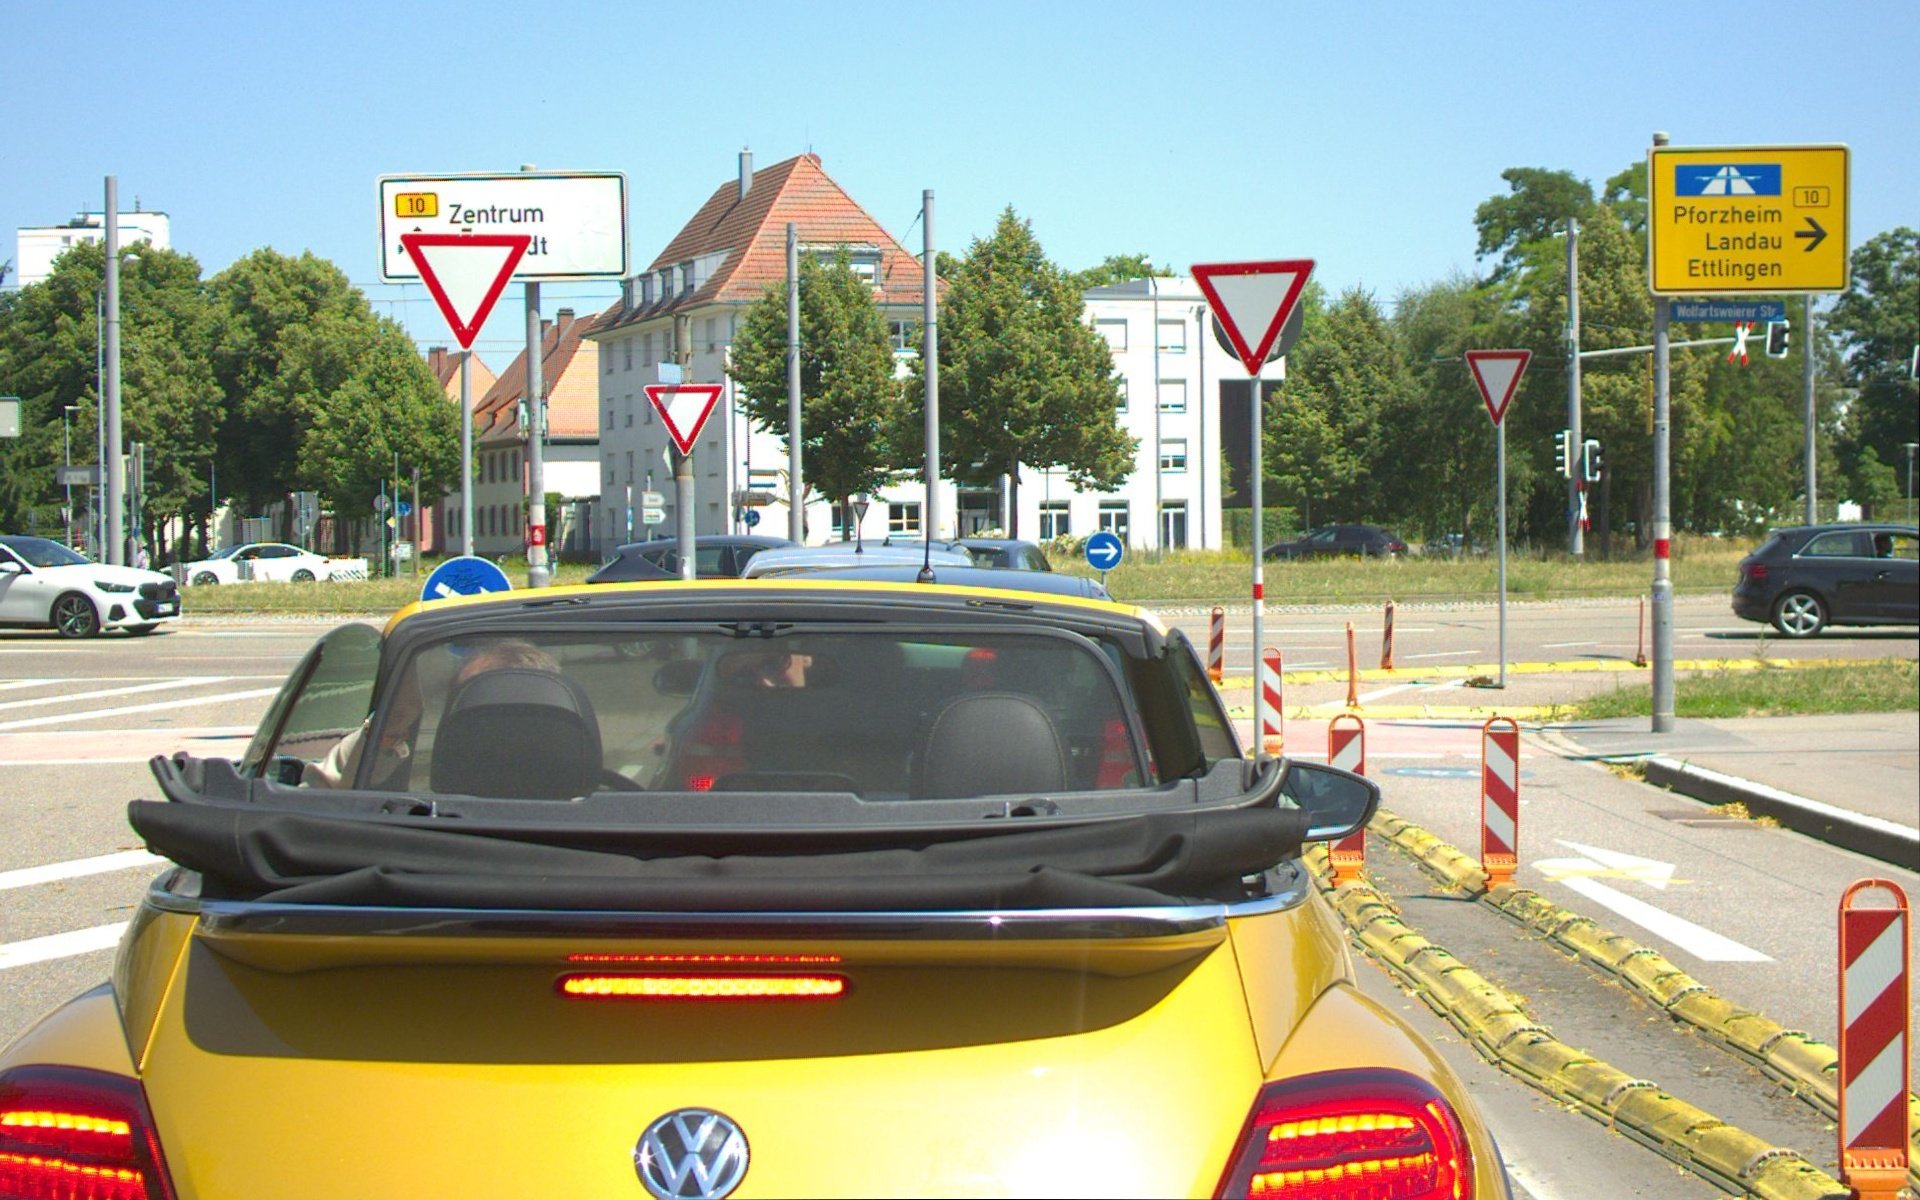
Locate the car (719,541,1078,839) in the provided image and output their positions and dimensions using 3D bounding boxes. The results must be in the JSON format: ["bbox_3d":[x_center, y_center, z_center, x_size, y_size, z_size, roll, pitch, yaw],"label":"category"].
[{"bbox_3d":[-0.318,0.404,18.640,1.736,1.437,4.000,0,1,-1],"label":"car"}]

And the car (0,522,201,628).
[{"bbox_3d":[-13.947,-0.393,50.783,4.995,1.504,1.998,0,1,17],"label":"car"}]

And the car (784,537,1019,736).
[{"bbox_3d":[-0.451,0.237,27.496,1.736,1.472,4.000,0,1,-1],"label":"car"}]

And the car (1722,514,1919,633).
[{"bbox_3d":[11.679,-0.340,42.623,4.188,1.437,1.999,0,1,8],"label":"car"}]

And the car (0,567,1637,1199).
[{"bbox_3d":[-0.317,0.679,4.875,1.752,1.417,3.778,0,1,-1],"label":"car"}]

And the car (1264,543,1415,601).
[{"bbox_3d":[11.700,-0.871,106.047,4.193,1.666,1.946,-1,1,25],"label":"car"}]

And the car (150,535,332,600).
[{"bbox_3d":[-20.500,-0.944,98.048,4.670,1.821,2.000,0,1,-34],"label":"car"}]

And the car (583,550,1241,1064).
[{"bbox_3d":[-0.155,0.554,11.682,1.848,1.437,4.000,0,1,-1],"label":"car"}]

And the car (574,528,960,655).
[{"bbox_3d":[-2.221,-0.119,40.284,4.206,1.437,1.999,0,1,8],"label":"car"}]
